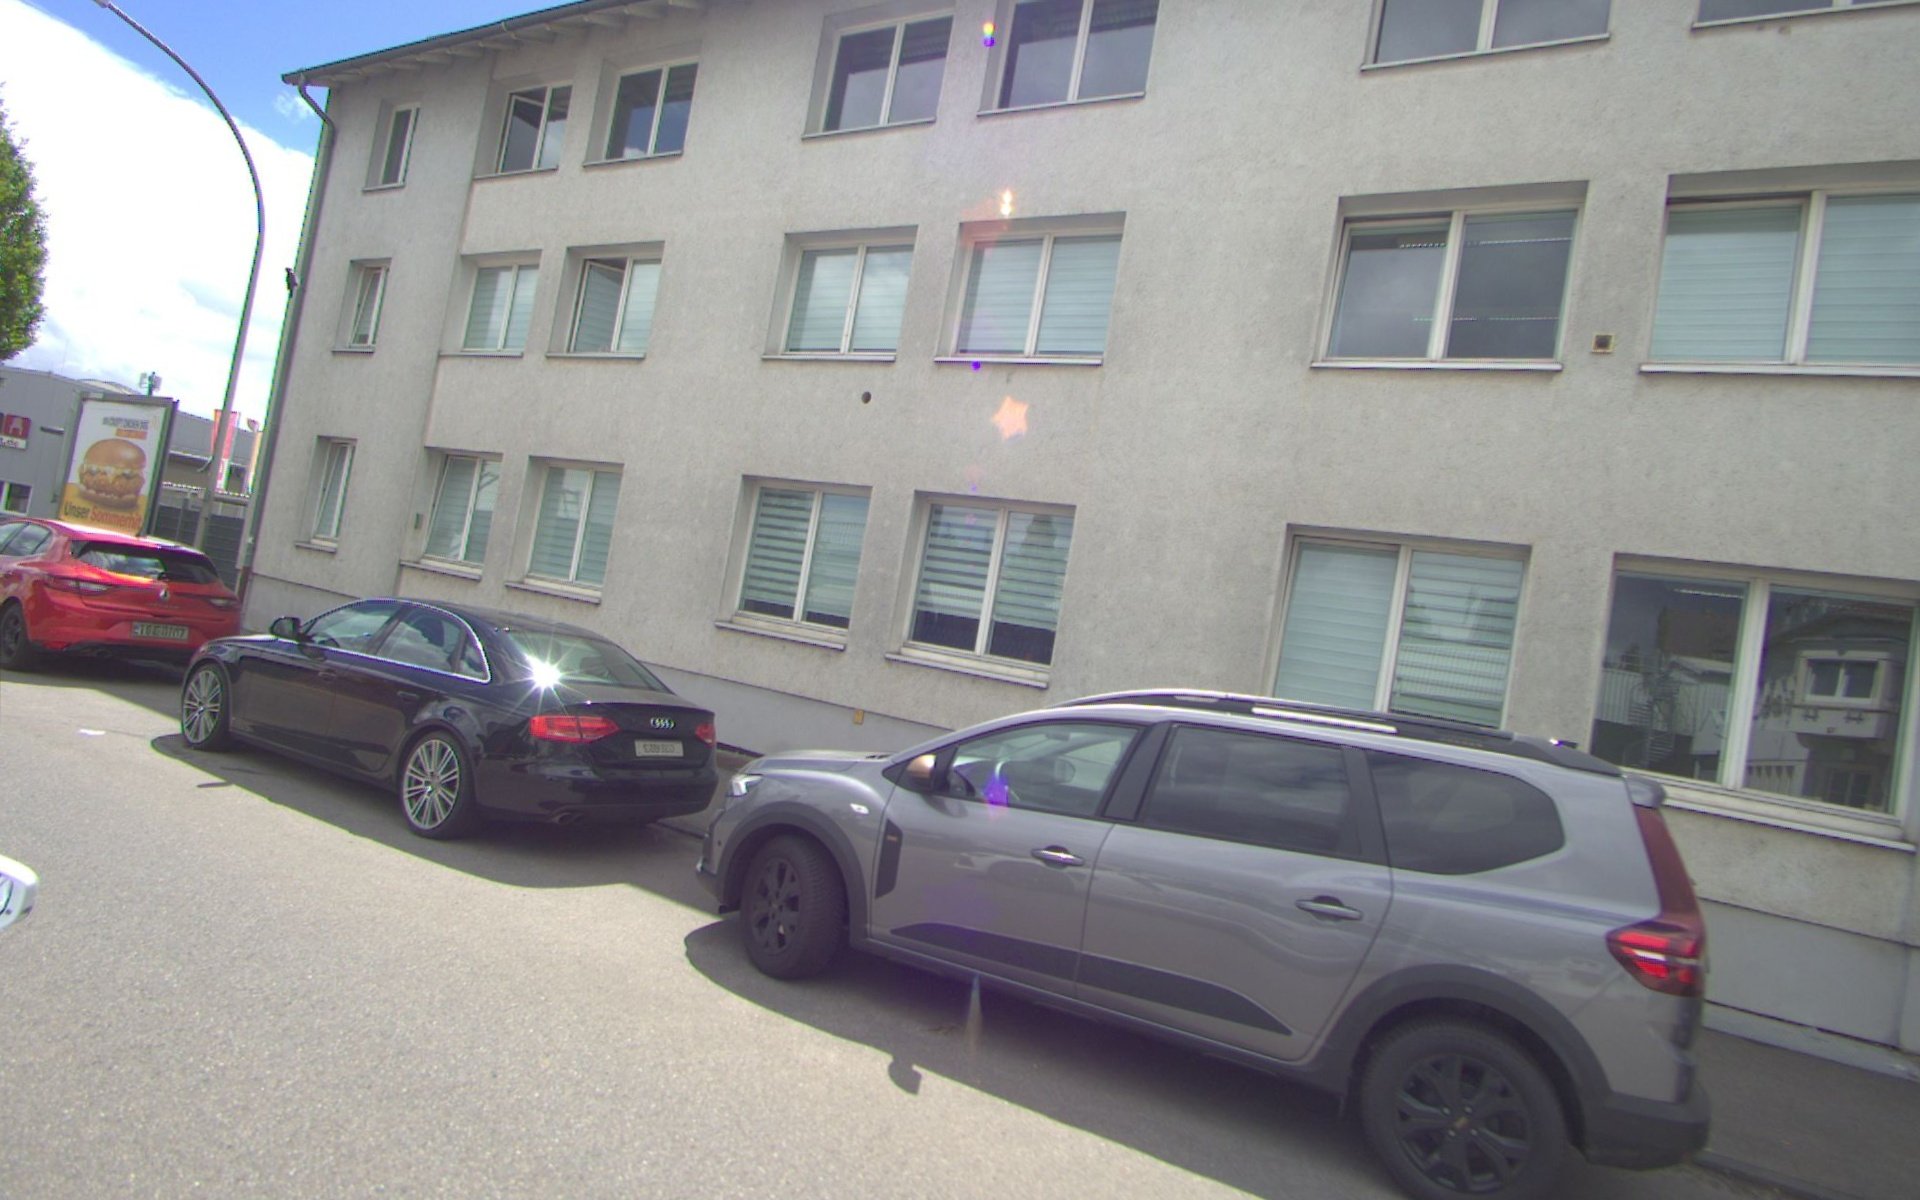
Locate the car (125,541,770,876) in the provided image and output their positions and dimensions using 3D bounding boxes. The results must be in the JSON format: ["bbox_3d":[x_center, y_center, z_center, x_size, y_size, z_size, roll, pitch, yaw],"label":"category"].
[{"bbox_3d":[-3.939,0.661,7.506,4.776,1.438,1.742,8,-4,29],"label":"car"}]

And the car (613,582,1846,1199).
[{"bbox_3d":[0.832,1.159,4.833,4.711,1.654,1.685,8,-5,26],"label":"car"}]

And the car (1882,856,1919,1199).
[{"bbox_3d":[5.494,1.837,2.011,4.999,1.524,1.713,8,-5,29],"label":"car"}]

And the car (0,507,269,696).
[{"bbox_3d":[-9.569,-0.106,10.814,4.189,1.487,1.741,8,-4,30],"label":"car"}]
